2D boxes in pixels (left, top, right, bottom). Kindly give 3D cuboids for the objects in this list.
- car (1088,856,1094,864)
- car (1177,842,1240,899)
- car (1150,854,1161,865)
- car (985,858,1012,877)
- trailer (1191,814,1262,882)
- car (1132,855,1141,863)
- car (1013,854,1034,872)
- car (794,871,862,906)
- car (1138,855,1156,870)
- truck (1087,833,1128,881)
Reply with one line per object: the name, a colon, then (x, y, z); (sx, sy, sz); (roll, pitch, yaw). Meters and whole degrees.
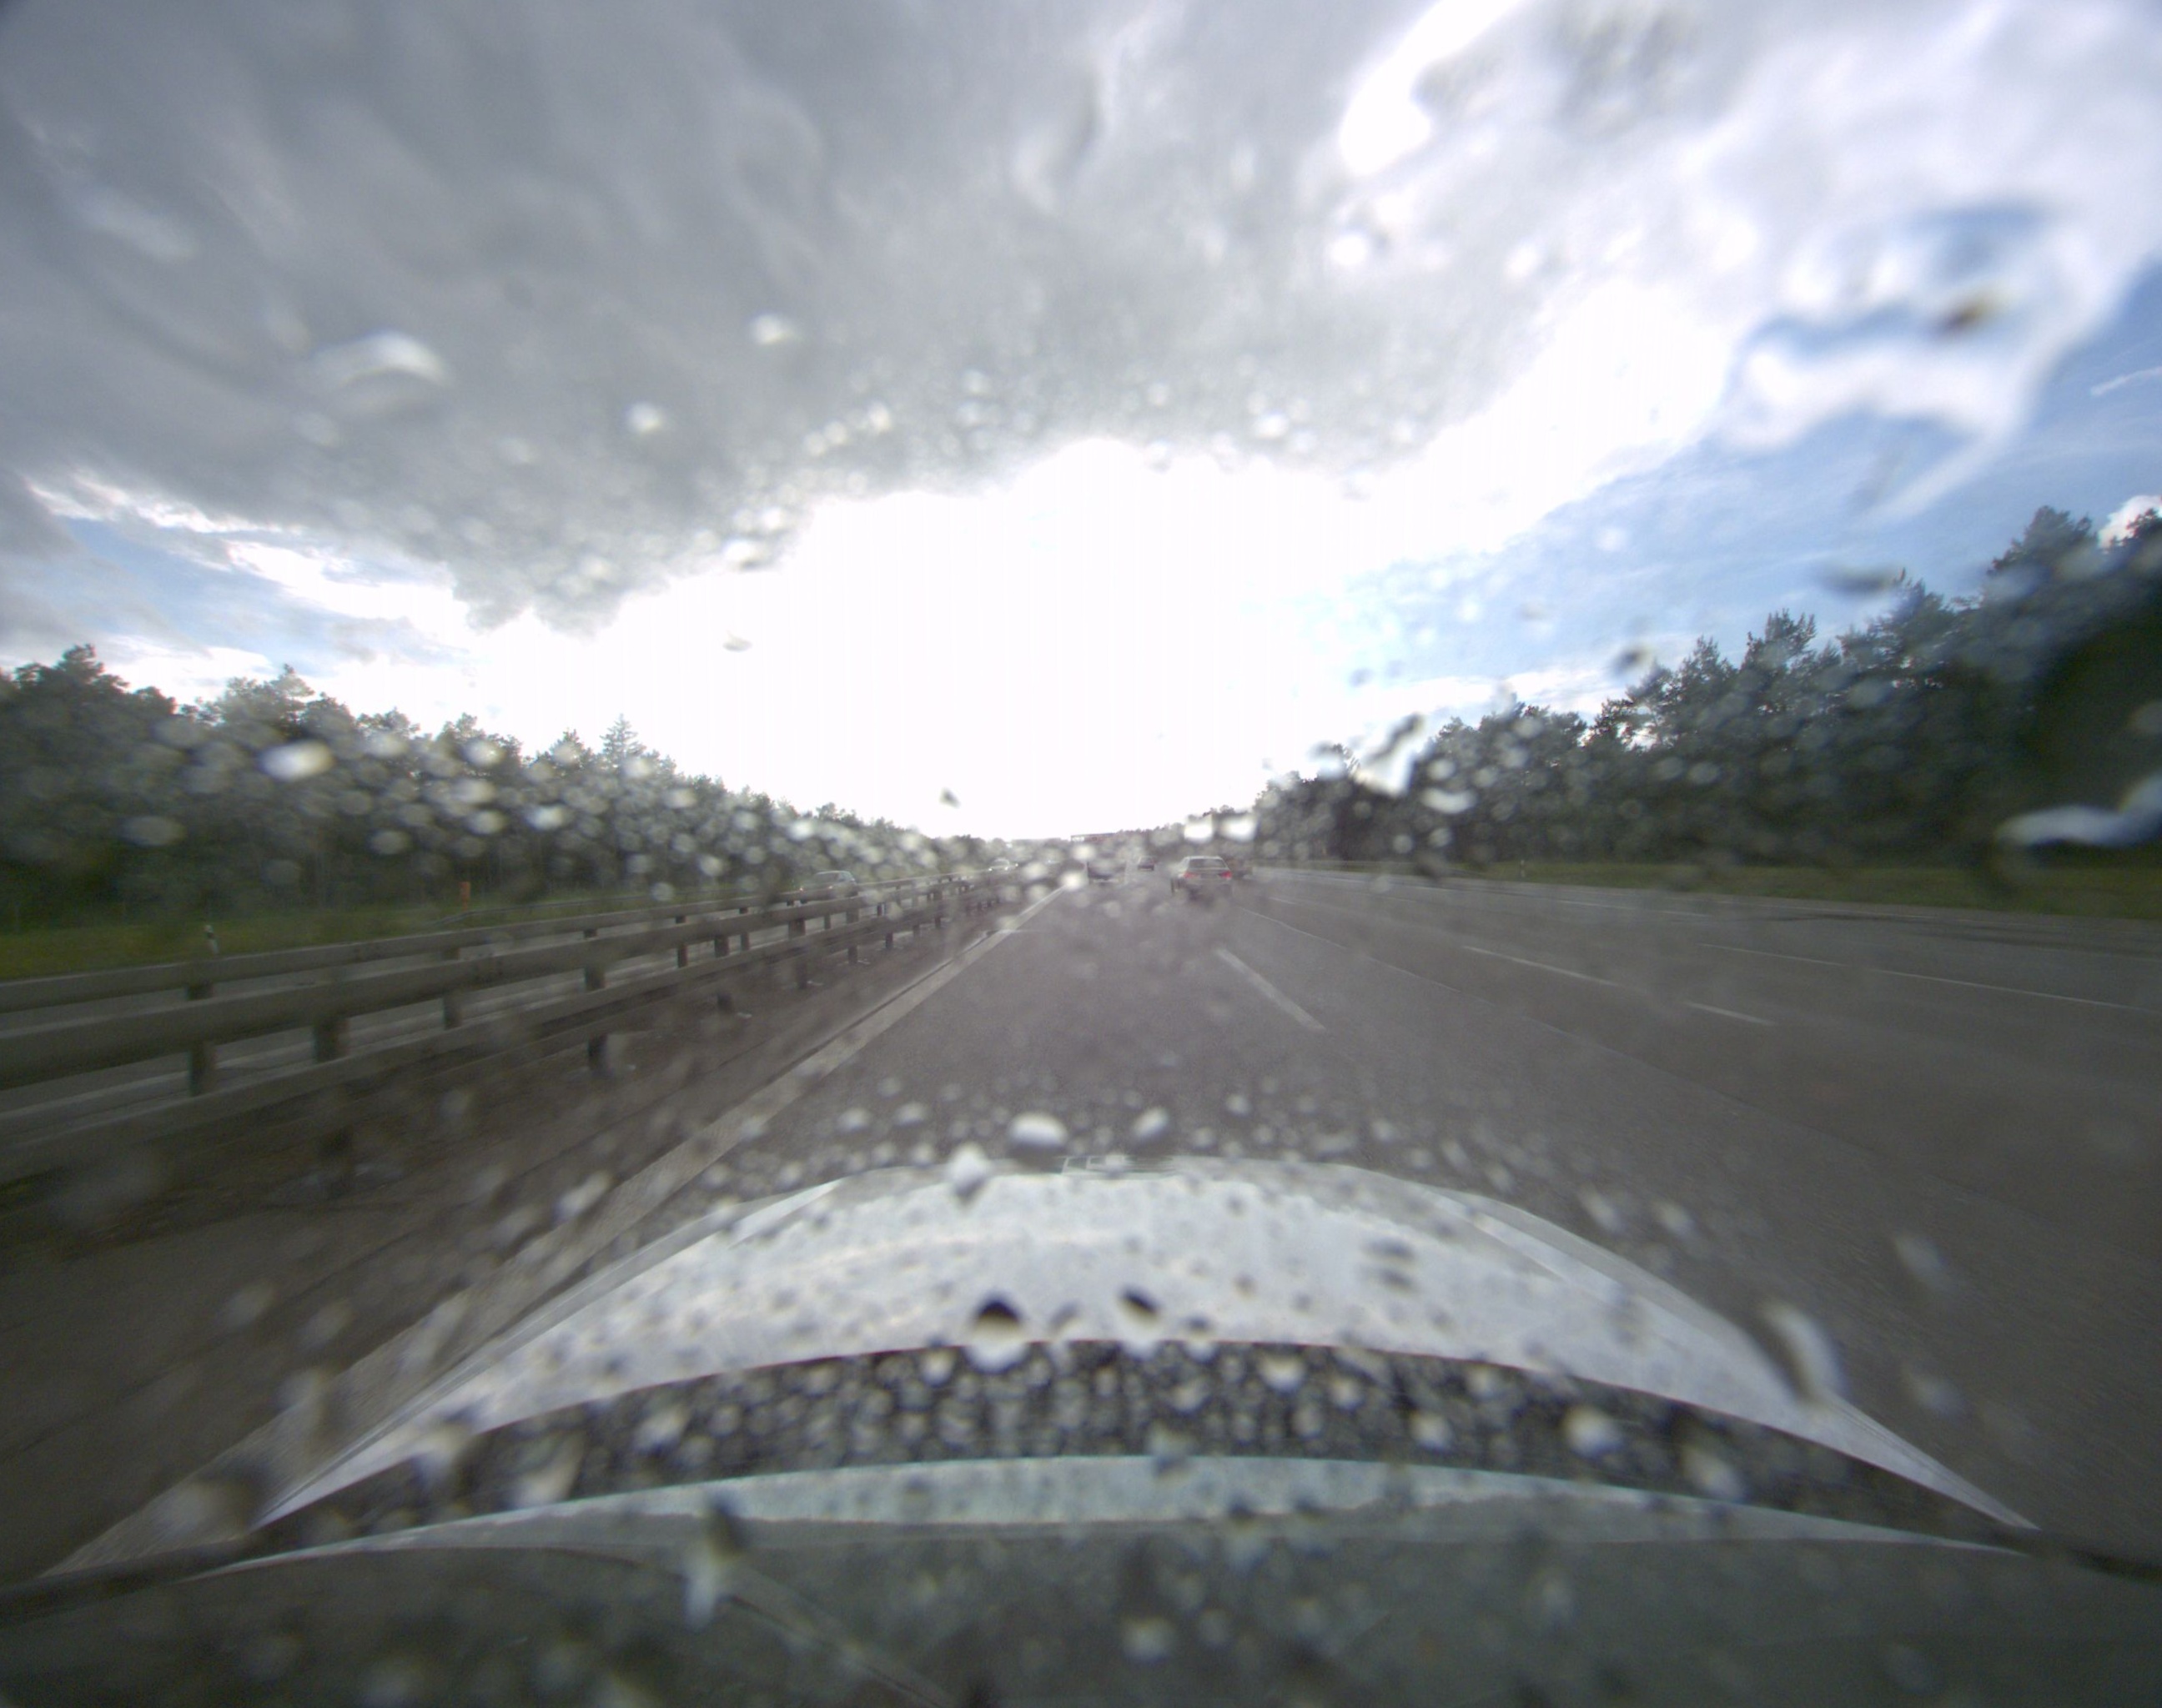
car: (2.674, 1.561, 216.232); (1.612, 2.013, 3.999); (0, 0, -1)
car: (4.575, 0.563, 29.794); (2.067, 1.885, 5.020); (-1, 0, 7)
car: (14.534, 1.077, 159.767); (1.985, 2.013, 4.003); (0, 0, 3)
car: (-7.618, 1.196, 75.270); (1.853, 1.589, 4.491); (-2, 0, 1)
trailer: (9.655, -0.331, 55.692); (2.316, 4.001, 13.408); (-1, 0, 0)
car: (12.395, 1.068, 182.987); (1.735, 1.688, 3.999); (-1, 0, 0)
car: (-6.956, 1.057, 98.456); (1.986, 2.013, 4.627); (-2, 0, 1)
car: (-12.226, 1.618, 39.617); (1.805, 1.422, 4.237); (-4, 0, 1)
car: (7.043, 0.890, 87.414); (1.823, 1.466, 4.004); (-1, 0, 4)
truck: (1.527, 0.174, 45.761); (2.129, 2.489, 5.315); (-1, 0, 2)
